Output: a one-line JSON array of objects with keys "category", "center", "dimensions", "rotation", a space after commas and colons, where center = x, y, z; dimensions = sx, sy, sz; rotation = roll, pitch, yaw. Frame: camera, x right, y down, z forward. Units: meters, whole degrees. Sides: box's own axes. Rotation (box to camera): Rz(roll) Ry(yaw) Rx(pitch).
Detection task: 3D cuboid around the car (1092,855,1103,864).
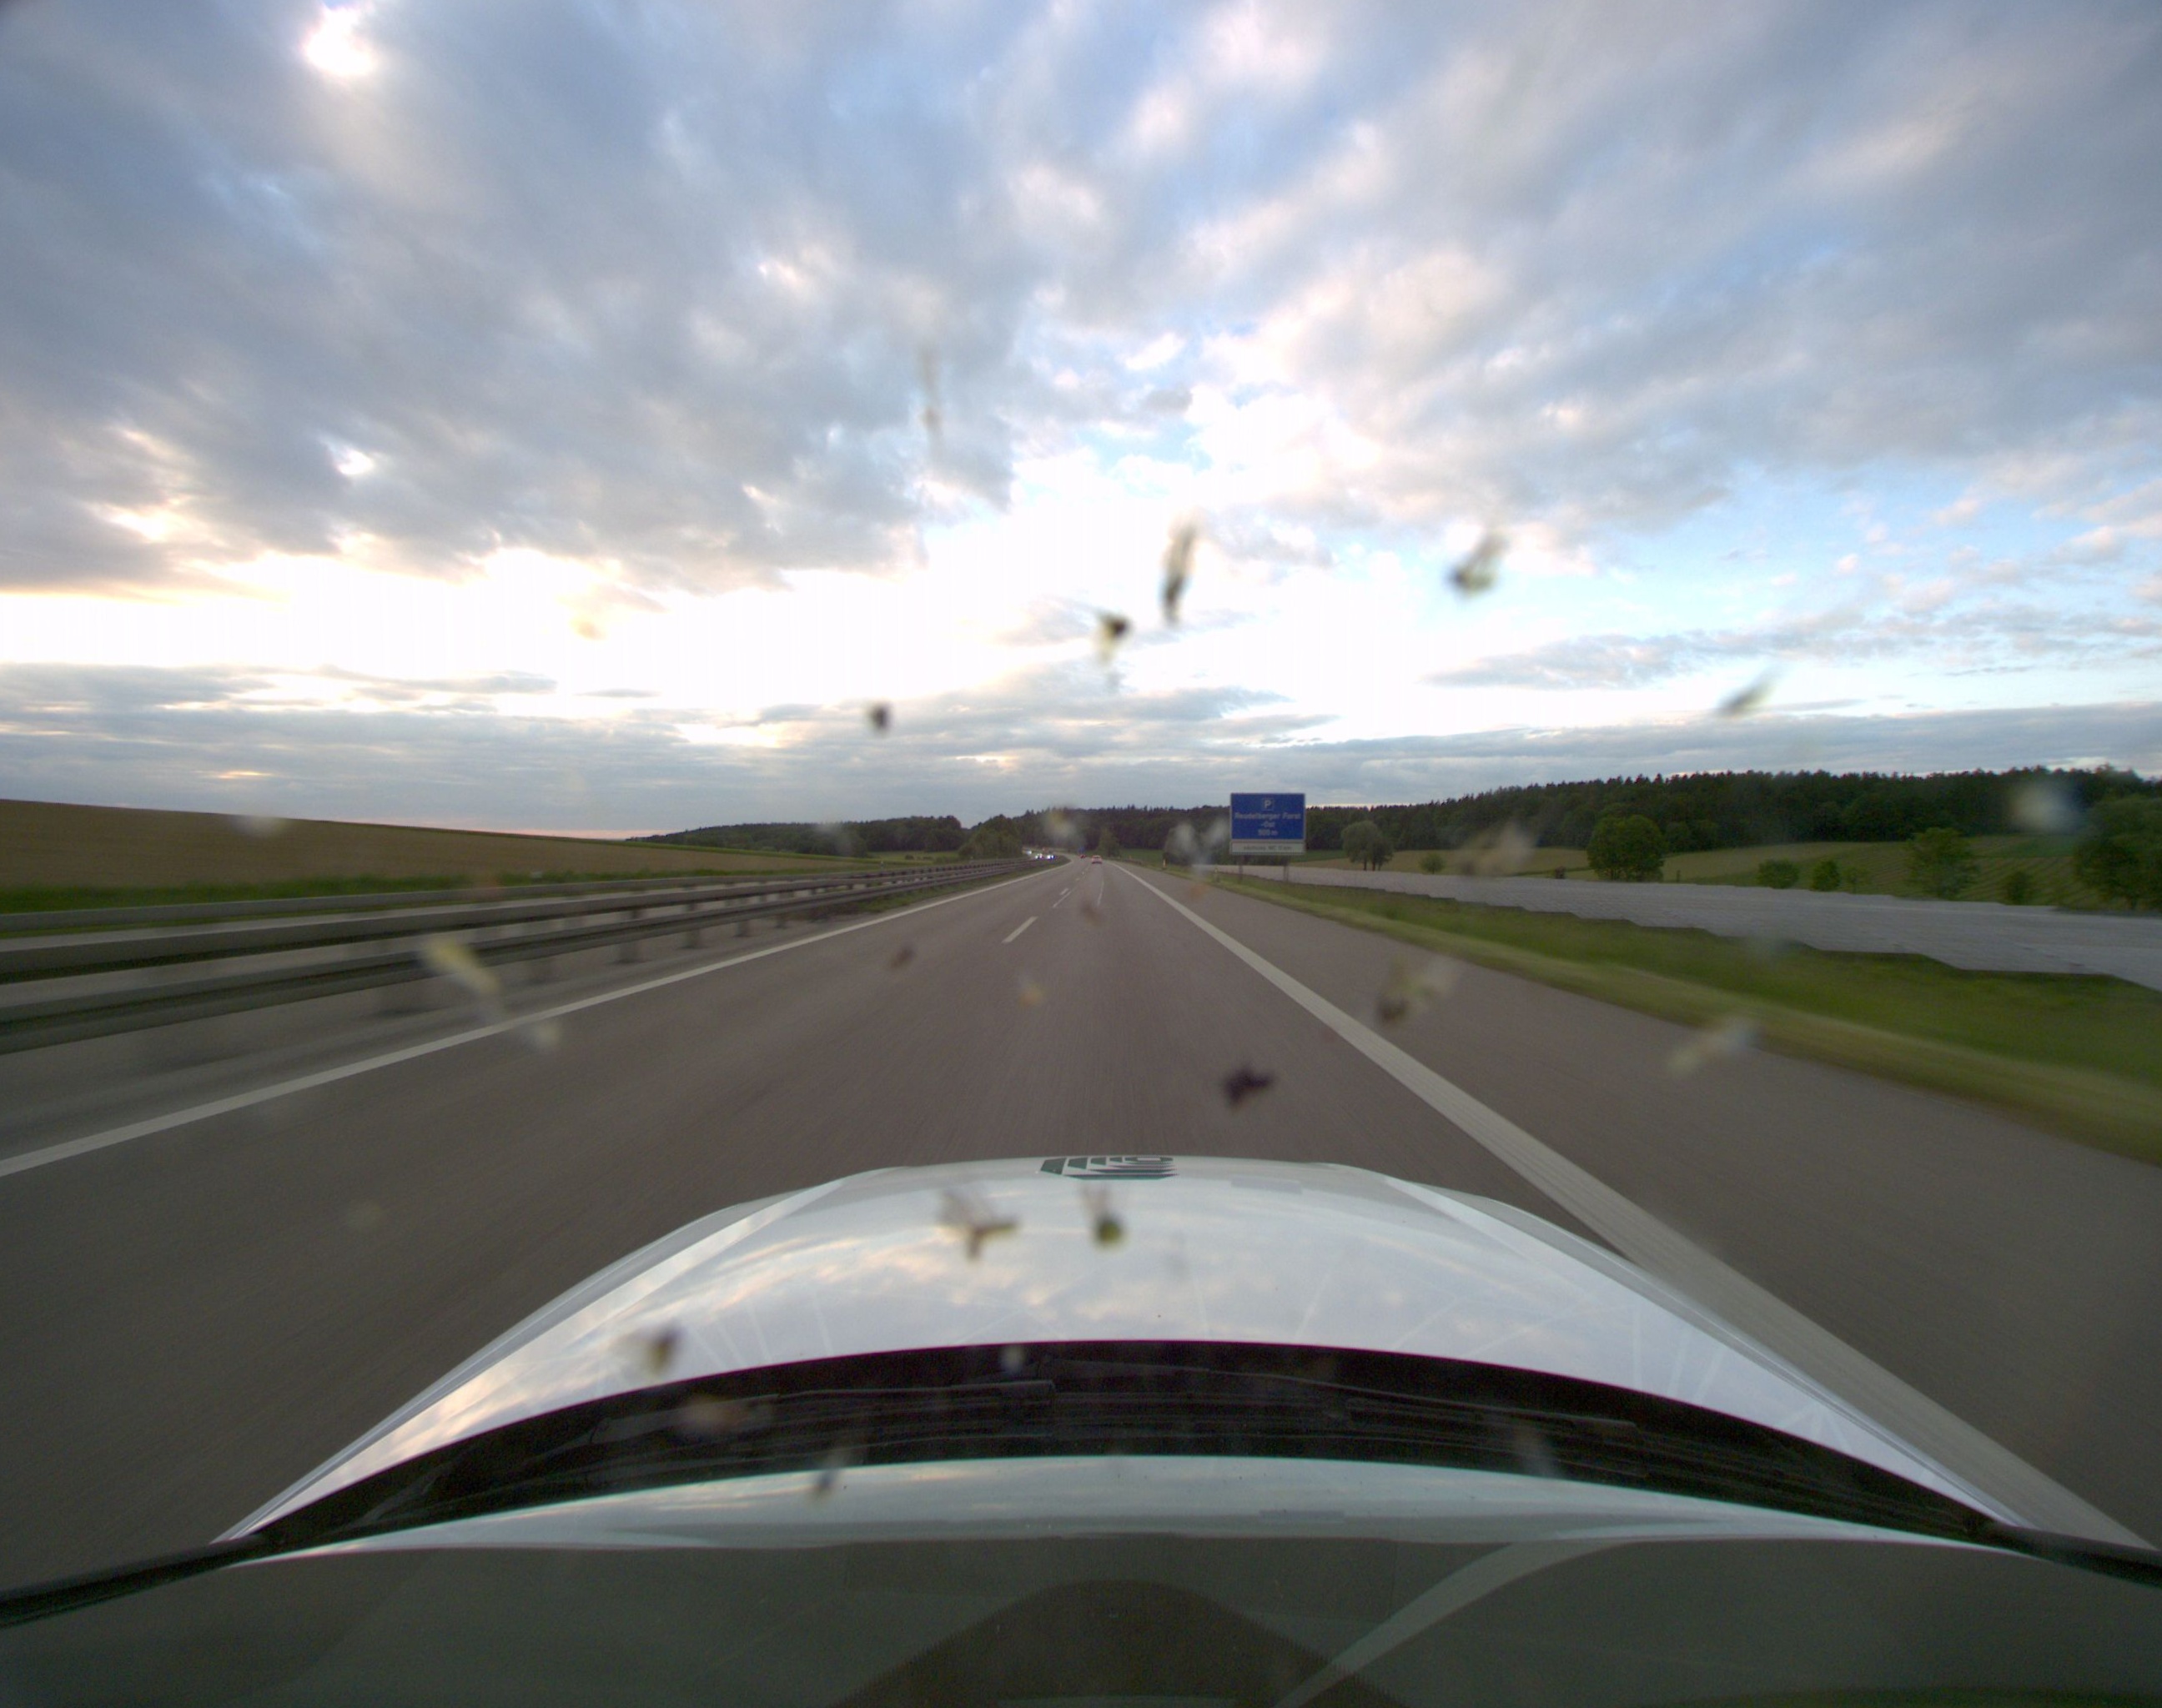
[{"category": "car", "center": [2.930, 1.048, 147.205], "dimensions": [1.945, 1.531, 4.079], "rotation": [2, 0, 0]}]
